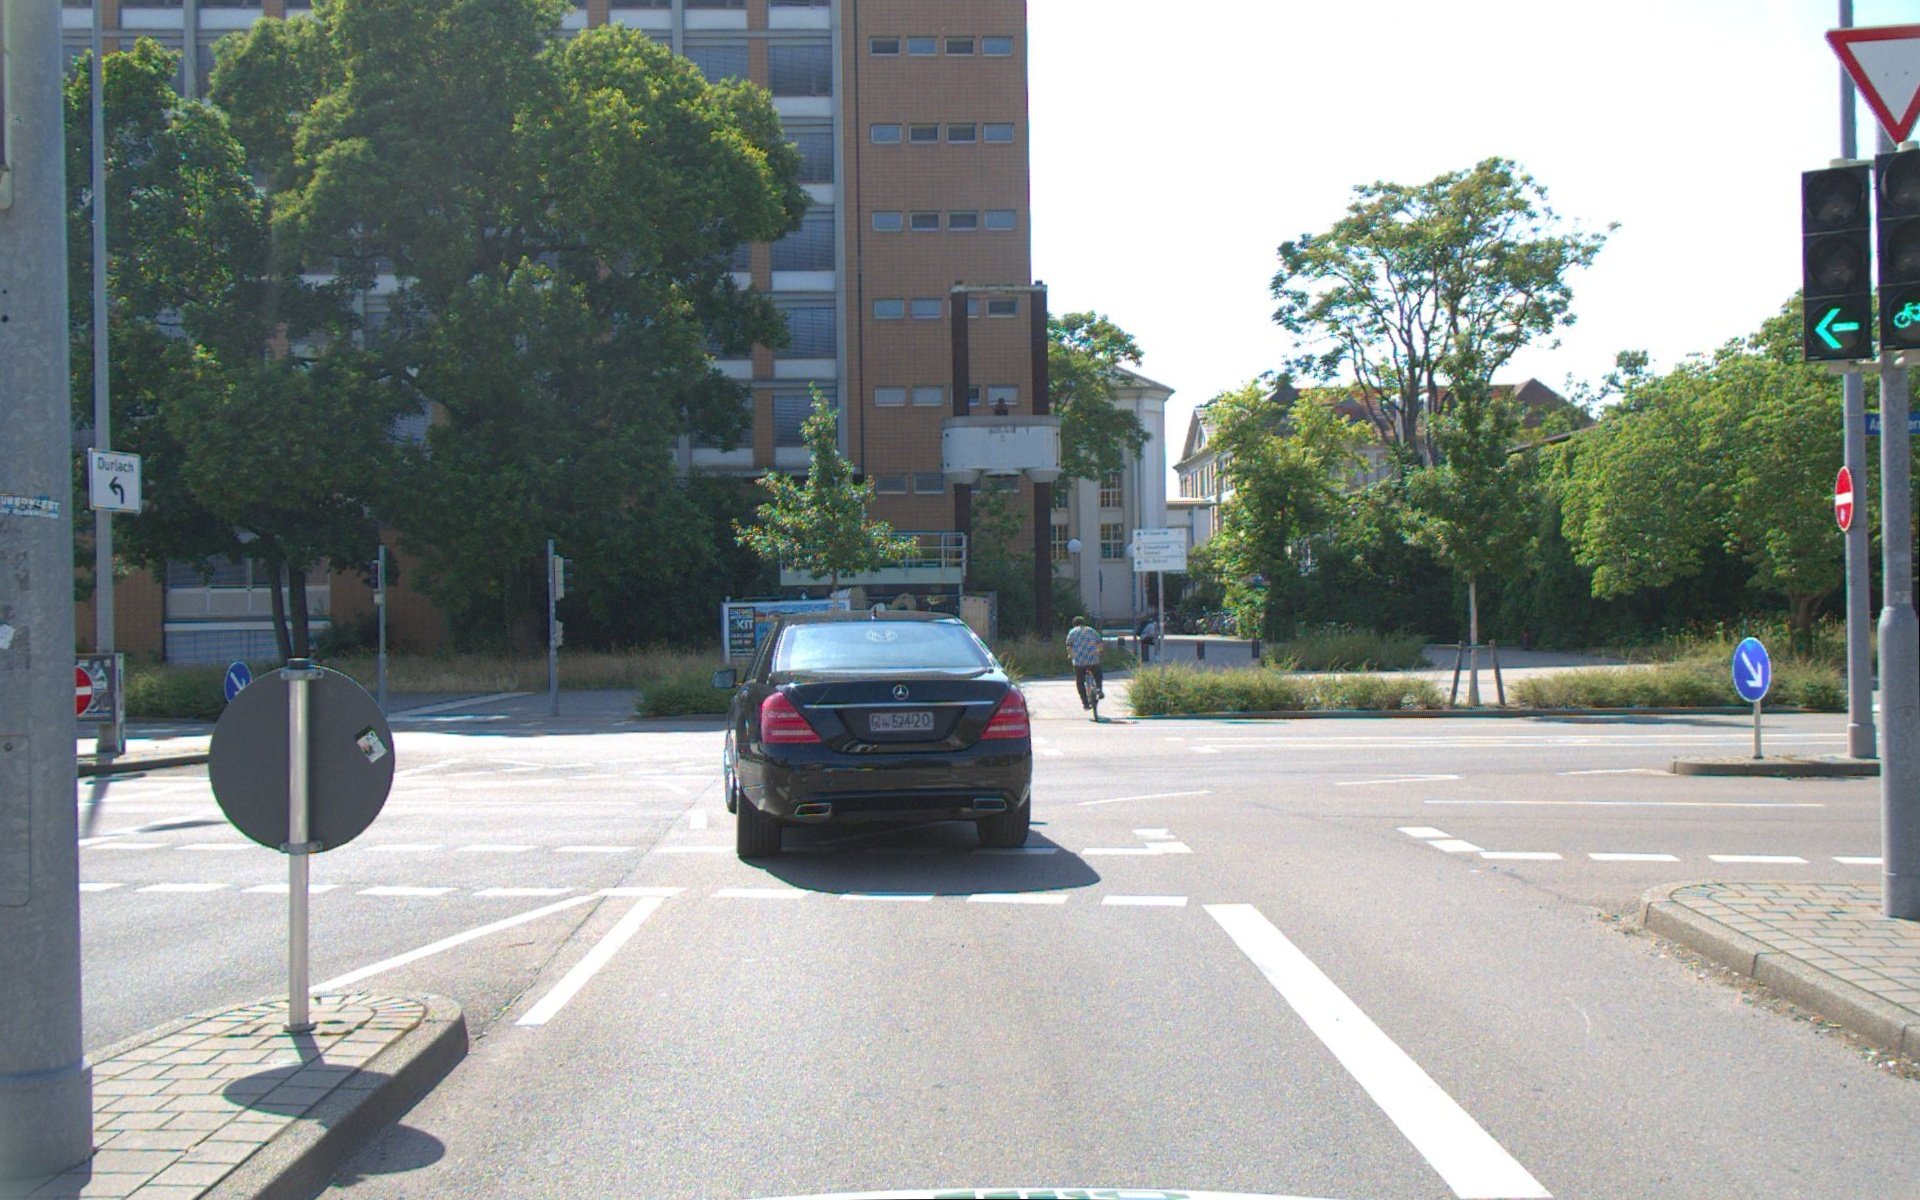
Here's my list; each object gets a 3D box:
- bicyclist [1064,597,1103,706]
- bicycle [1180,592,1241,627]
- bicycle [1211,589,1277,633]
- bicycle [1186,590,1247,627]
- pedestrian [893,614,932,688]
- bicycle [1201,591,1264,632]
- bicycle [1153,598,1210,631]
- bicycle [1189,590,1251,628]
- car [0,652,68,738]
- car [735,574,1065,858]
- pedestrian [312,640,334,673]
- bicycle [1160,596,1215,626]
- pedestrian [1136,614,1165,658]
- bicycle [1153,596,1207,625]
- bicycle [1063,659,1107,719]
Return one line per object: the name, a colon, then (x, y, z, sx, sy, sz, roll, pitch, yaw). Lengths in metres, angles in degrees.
bicyclist: (2.209, 0.913, 29.635, 0.671, 1.911, 0.860, 0, -1, 2)
bicycle: (12.199, 0.462, 80.566, 2.766, 1.615, 0.841, -2, 0, -2)
bicycle: (12.844, 0.495, 74.792, 2.766, 1.868, 0.841, -2, 0, -2)
bicycle: (12.302, 0.420, 79.501, 2.766, 1.688, 0.841, -2, 1, -2)
pedestrian: (-1.062, 1.129, 36.897, 0.794, 1.607, 0.692, -1, -1, 1)
bicycle: (12.676, 0.533, 77.049, 2.766, 1.775, 0.841, -2, 0, -2)
bicycle: (11.476, 0.745, 85.709, 2.766, 1.586, 0.841, -2, 0, -2)
bicycle: (12.331, 0.424, 78.503, 2.766, 1.678, 0.841, -2, 0, -2)
car: (-18.988, 1.790, 31.119, 3.905, 1.537, 1.800, -2, -2, 21)
car: (-0.634, 0.766, 11.559, 1.824, 1.557, 4.704, 1, -3, -8)
pedestrian: (-17.816, 1.584, 46.280, 0.419, 0.907, 0.393, -1, -1, 8)
bicycle: (12.070, 0.569, 87.800, 2.766, 1.526, 0.841, -2, 0, -2)
pedestrian: (5.407, 1.011, 47.002, 0.776, 1.235, 0.758, 1, -1, 6)
bicycle: (11.866, 0.554, 89.128, 2.766, 1.506, 0.841, -2, 0, -2)
bicycle: (2.188, 1.548, 29.102, 0.678, 0.963, 1.959, 1, -1, 2)
